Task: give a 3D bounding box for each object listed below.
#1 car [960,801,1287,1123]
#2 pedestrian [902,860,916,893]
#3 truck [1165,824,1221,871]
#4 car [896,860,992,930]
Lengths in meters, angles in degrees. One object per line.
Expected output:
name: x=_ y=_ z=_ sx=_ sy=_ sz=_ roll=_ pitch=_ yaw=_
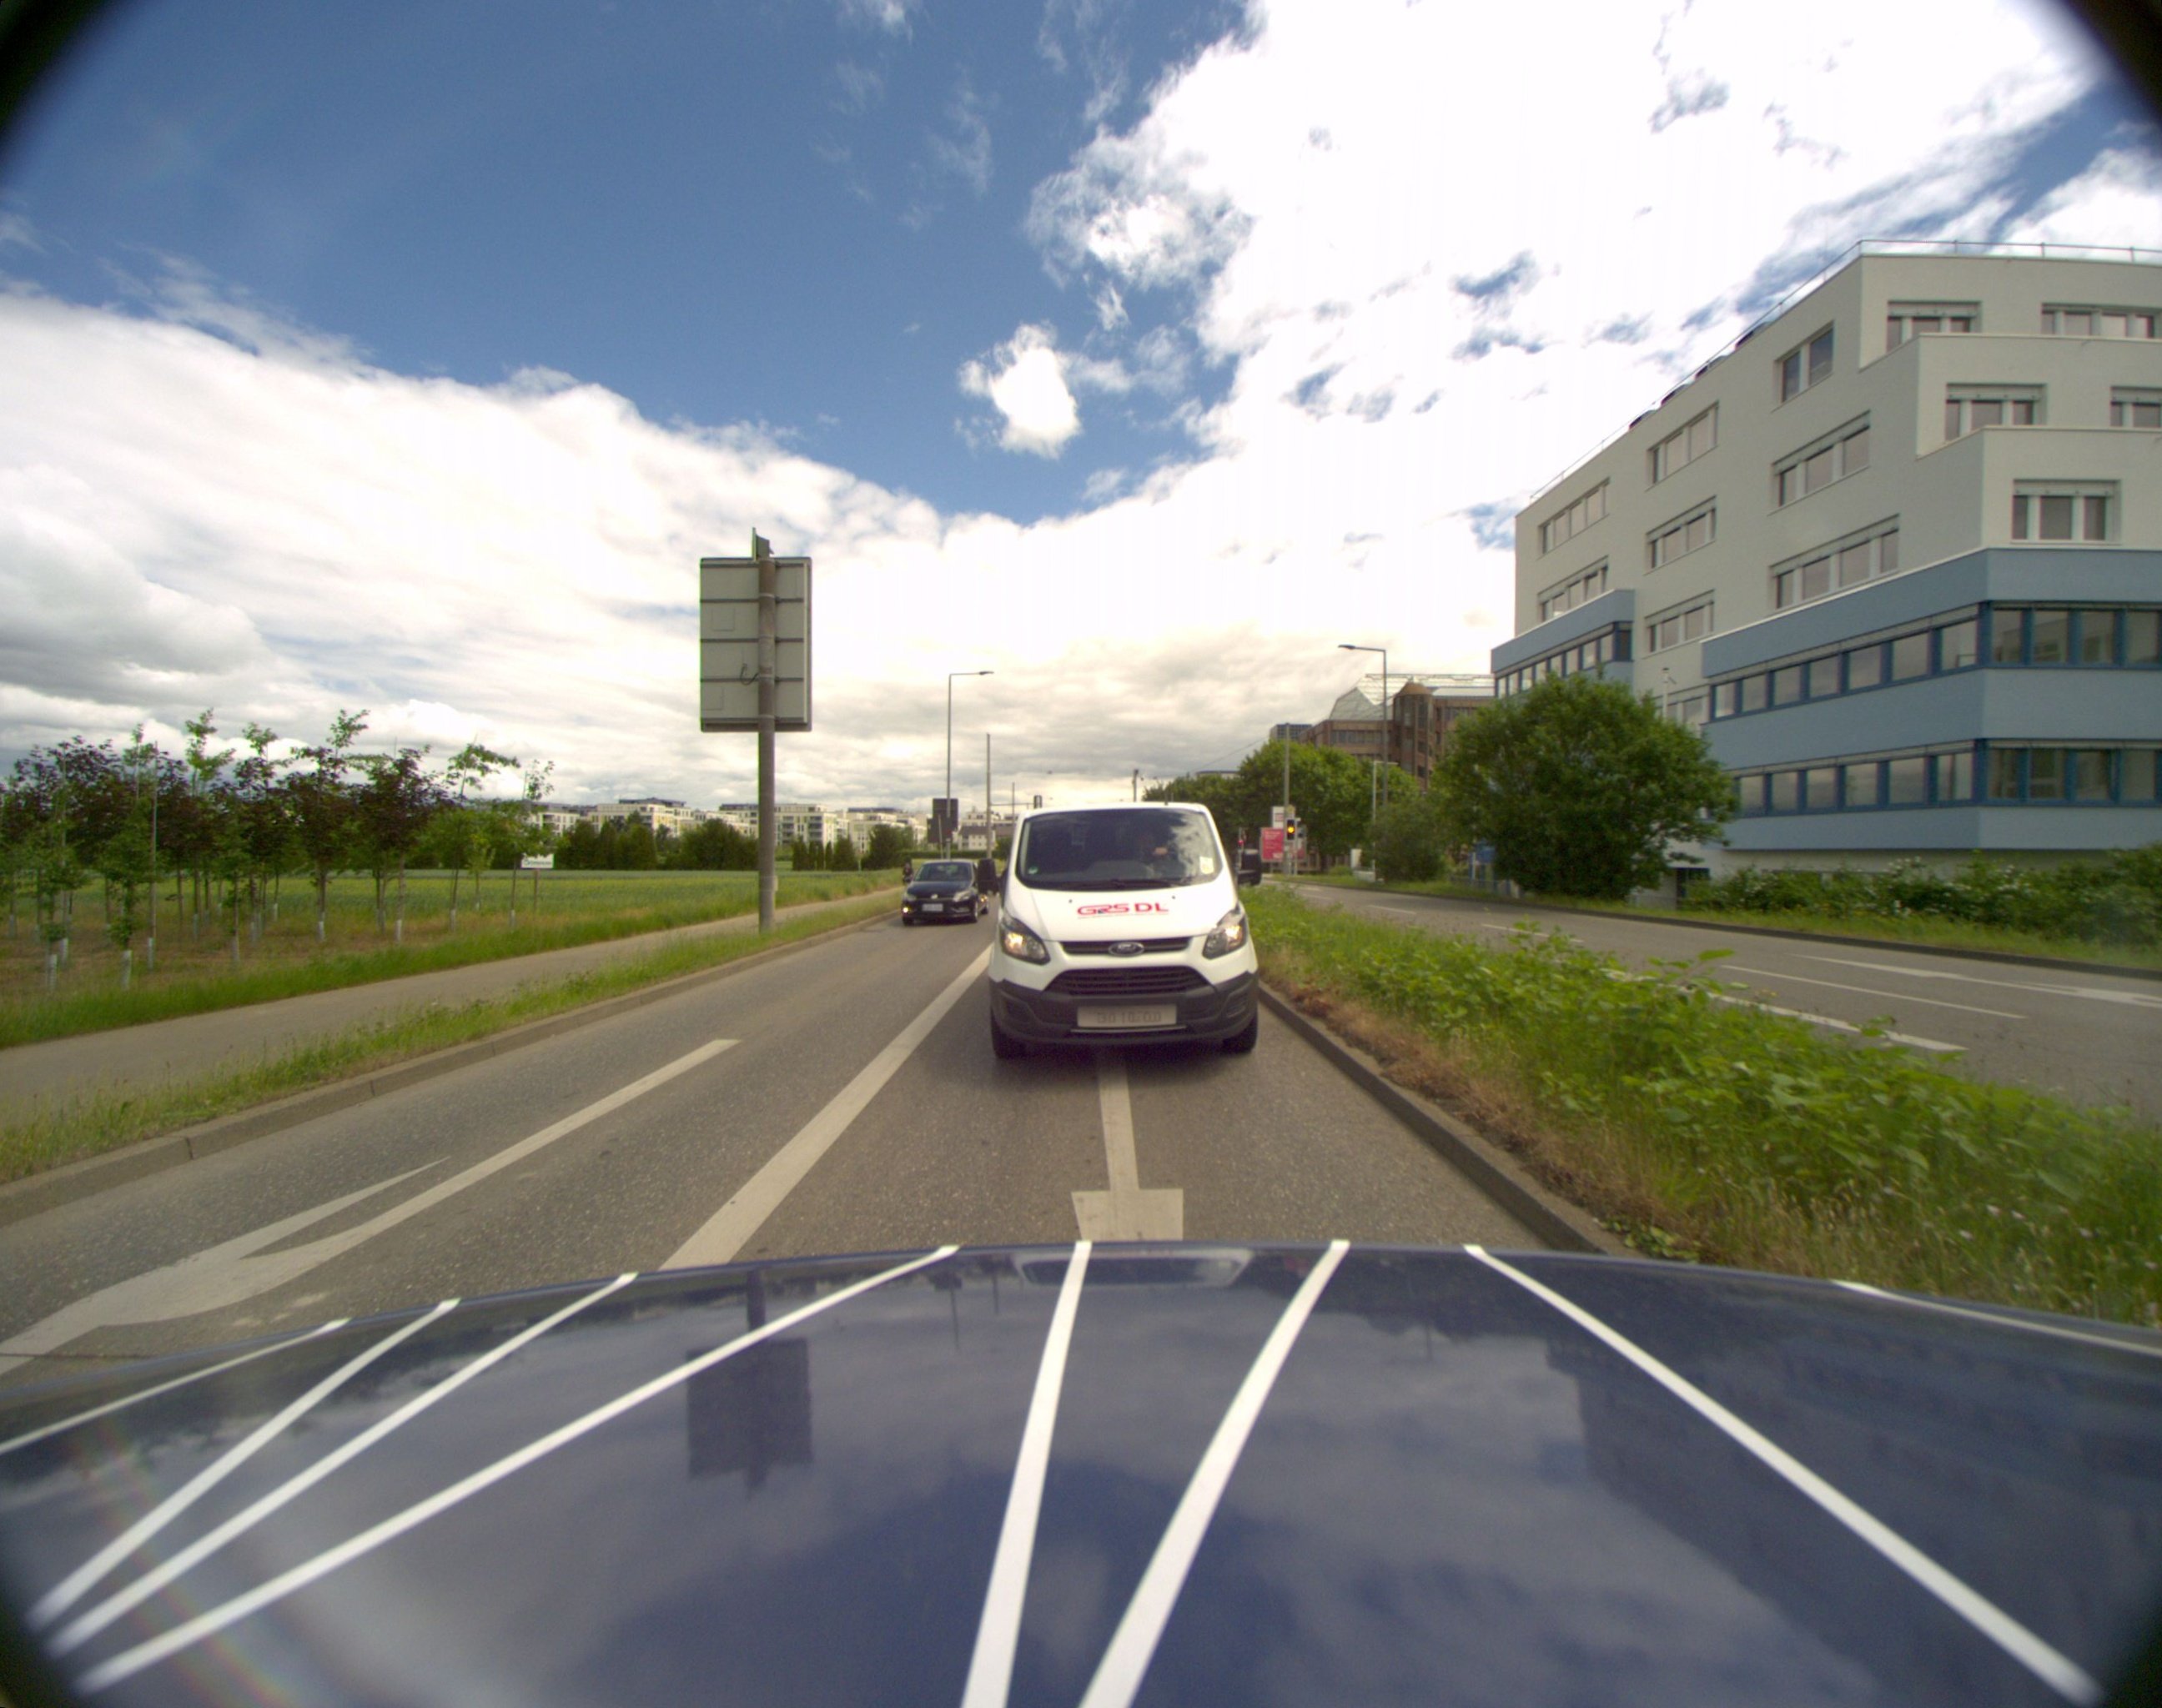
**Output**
car: x=0.293 y=0.656 z=7.209 sx=1.968 sy=1.938 sz=5.055 roll=-1 pitch=0 yaw=1
pedestrian: x=-8.929 y=1.150 z=39.473 sx=0.492 sy=1.693 sz=0.626 roll=-2 pitch=1 yaw=-1
truck: x=8.971 y=-0.573 z=62.074 sx=3.176 sy=3.498 sz=9.524 roll=0 pitch=1 yaw=0
car: x=-3.162 y=0.905 z=18.239 sx=1.683 sy=1.410 sz=3.739 roll=-1 pitch=1 yaw=-1
